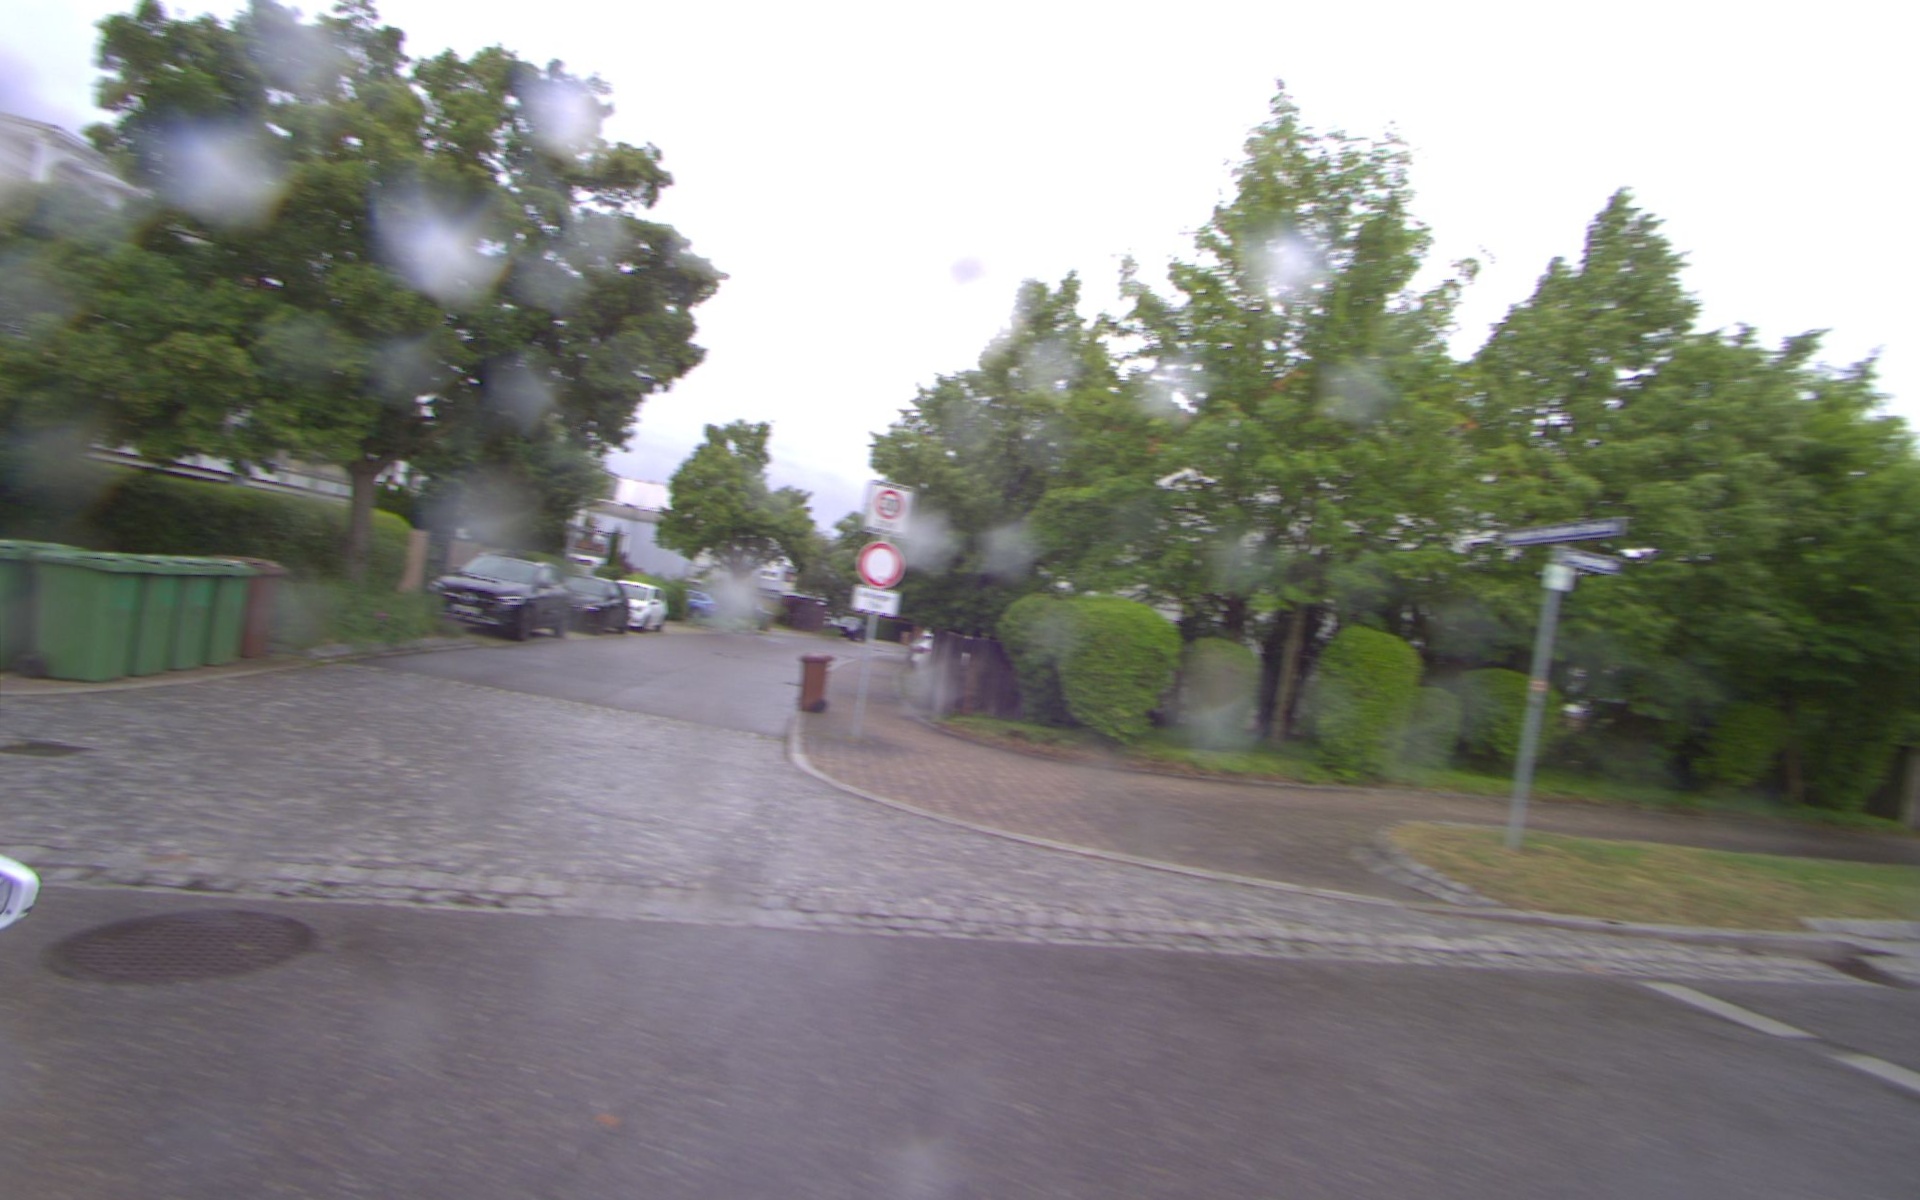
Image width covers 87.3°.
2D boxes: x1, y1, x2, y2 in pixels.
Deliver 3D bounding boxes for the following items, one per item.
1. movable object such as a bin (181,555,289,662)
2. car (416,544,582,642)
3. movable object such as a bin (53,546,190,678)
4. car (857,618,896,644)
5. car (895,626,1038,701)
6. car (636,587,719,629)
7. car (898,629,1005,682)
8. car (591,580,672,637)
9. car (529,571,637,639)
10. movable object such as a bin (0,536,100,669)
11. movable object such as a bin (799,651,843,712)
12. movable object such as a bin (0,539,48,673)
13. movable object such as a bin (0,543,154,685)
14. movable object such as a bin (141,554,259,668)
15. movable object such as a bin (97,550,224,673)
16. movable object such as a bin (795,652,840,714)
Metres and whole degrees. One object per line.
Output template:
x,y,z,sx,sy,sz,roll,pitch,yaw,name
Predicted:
-8.020,0.096,11.158,0.686,1.067,0.603,8,0,-15,movable object such as a bin
-9.407,-0.080,20.905,1.751,1.535,4.135,10,-2,-7,car
-7.630,0.114,9.184,0.686,1.087,0.542,8,0,-15,movable object such as a bin
-7.059,2.688,85.769,1.765,1.831,3.854,7,-2,19,car
0.202,1.847,29.610,3.926,1.683,1.780,7,-1,0,car
-14.937,0.468,53.392,3.936,1.585,1.906,9,-2,-11,car
-0.319,2.144,39.101,3.926,1.552,1.780,7,-1,0,car
-10.347,0.313,31.875,1.489,1.492,3.274,10,-2,-4,car
-9.956,0.182,26.866,1.612,1.424,3.604,10,-2,-5,car
-8.327,0.011,8.983,0.686,1.085,0.596,8,0,-15,movable object such as a bin
-2.383,1.394,17.294,0.562,0.941,0.530,8,-2,-2,movable object such as a bin
-8.213,0.019,8.365,0.657,1.086,0.542,7,0,-14,movable object such as a bin
-7.507,0.117,8.585,0.686,1.087,0.600,8,0,-15,movable object such as a bin
-7.831,0.112,10.392,0.686,1.067,0.603,8,0,-15,movable object such as a bin
-7.742,0.109,9.769,0.686,1.080,0.577,8,0,-15,movable object such as a bin
-2.369,1.369,16.722,0.562,0.941,0.530,8,-2,-2,movable object such as a bin
